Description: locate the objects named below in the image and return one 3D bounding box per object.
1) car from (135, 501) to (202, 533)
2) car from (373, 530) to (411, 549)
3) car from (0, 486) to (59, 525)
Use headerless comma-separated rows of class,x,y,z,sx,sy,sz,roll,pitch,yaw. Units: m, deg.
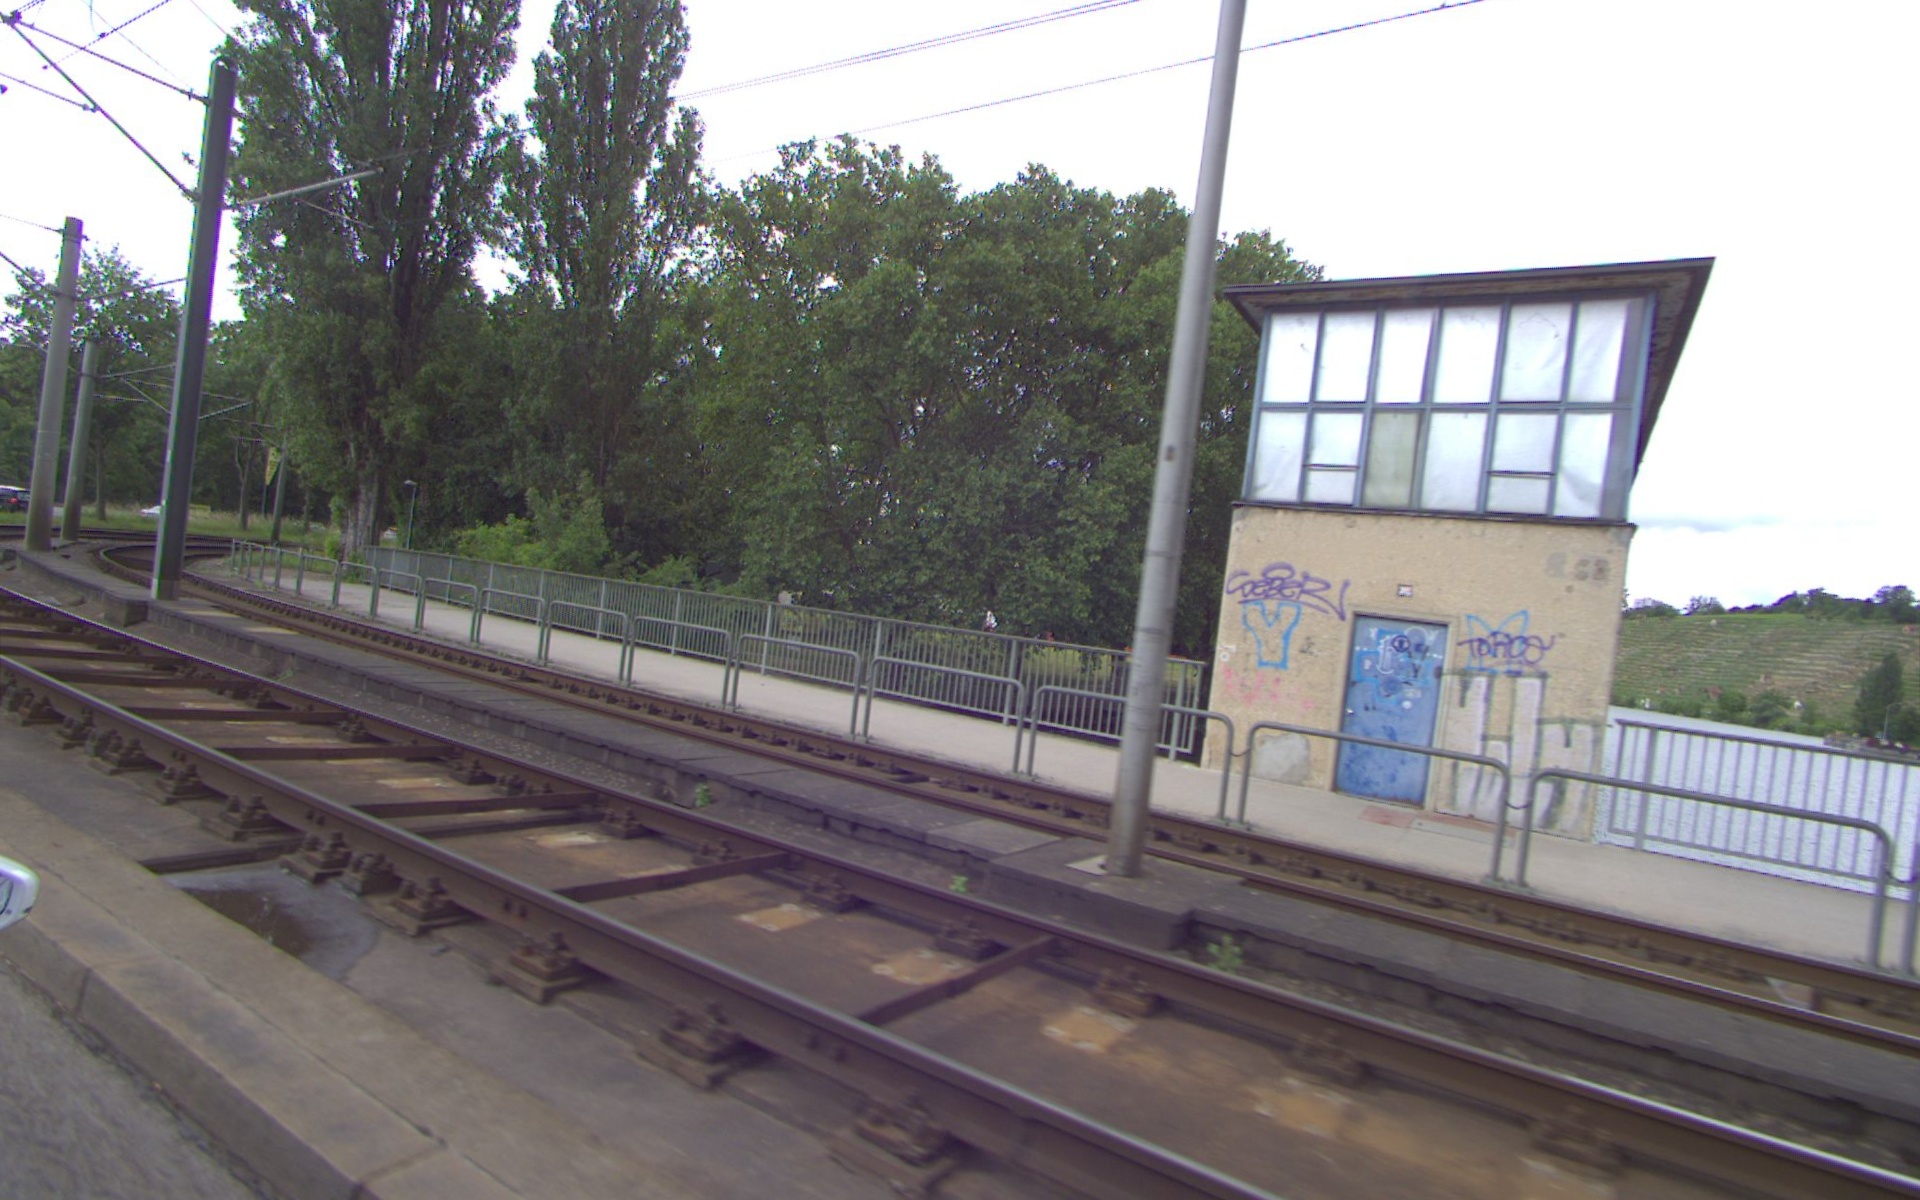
car,-50.850,-5.318,64.744,1.774,1.734,3.974,6,2,-14
car,-55.748,-5.917,98.784,1.791,1.572,3.992,6,2,-7
car,-45.732,-4.627,48.605,1.752,1.574,4.221,7,-1,-21
